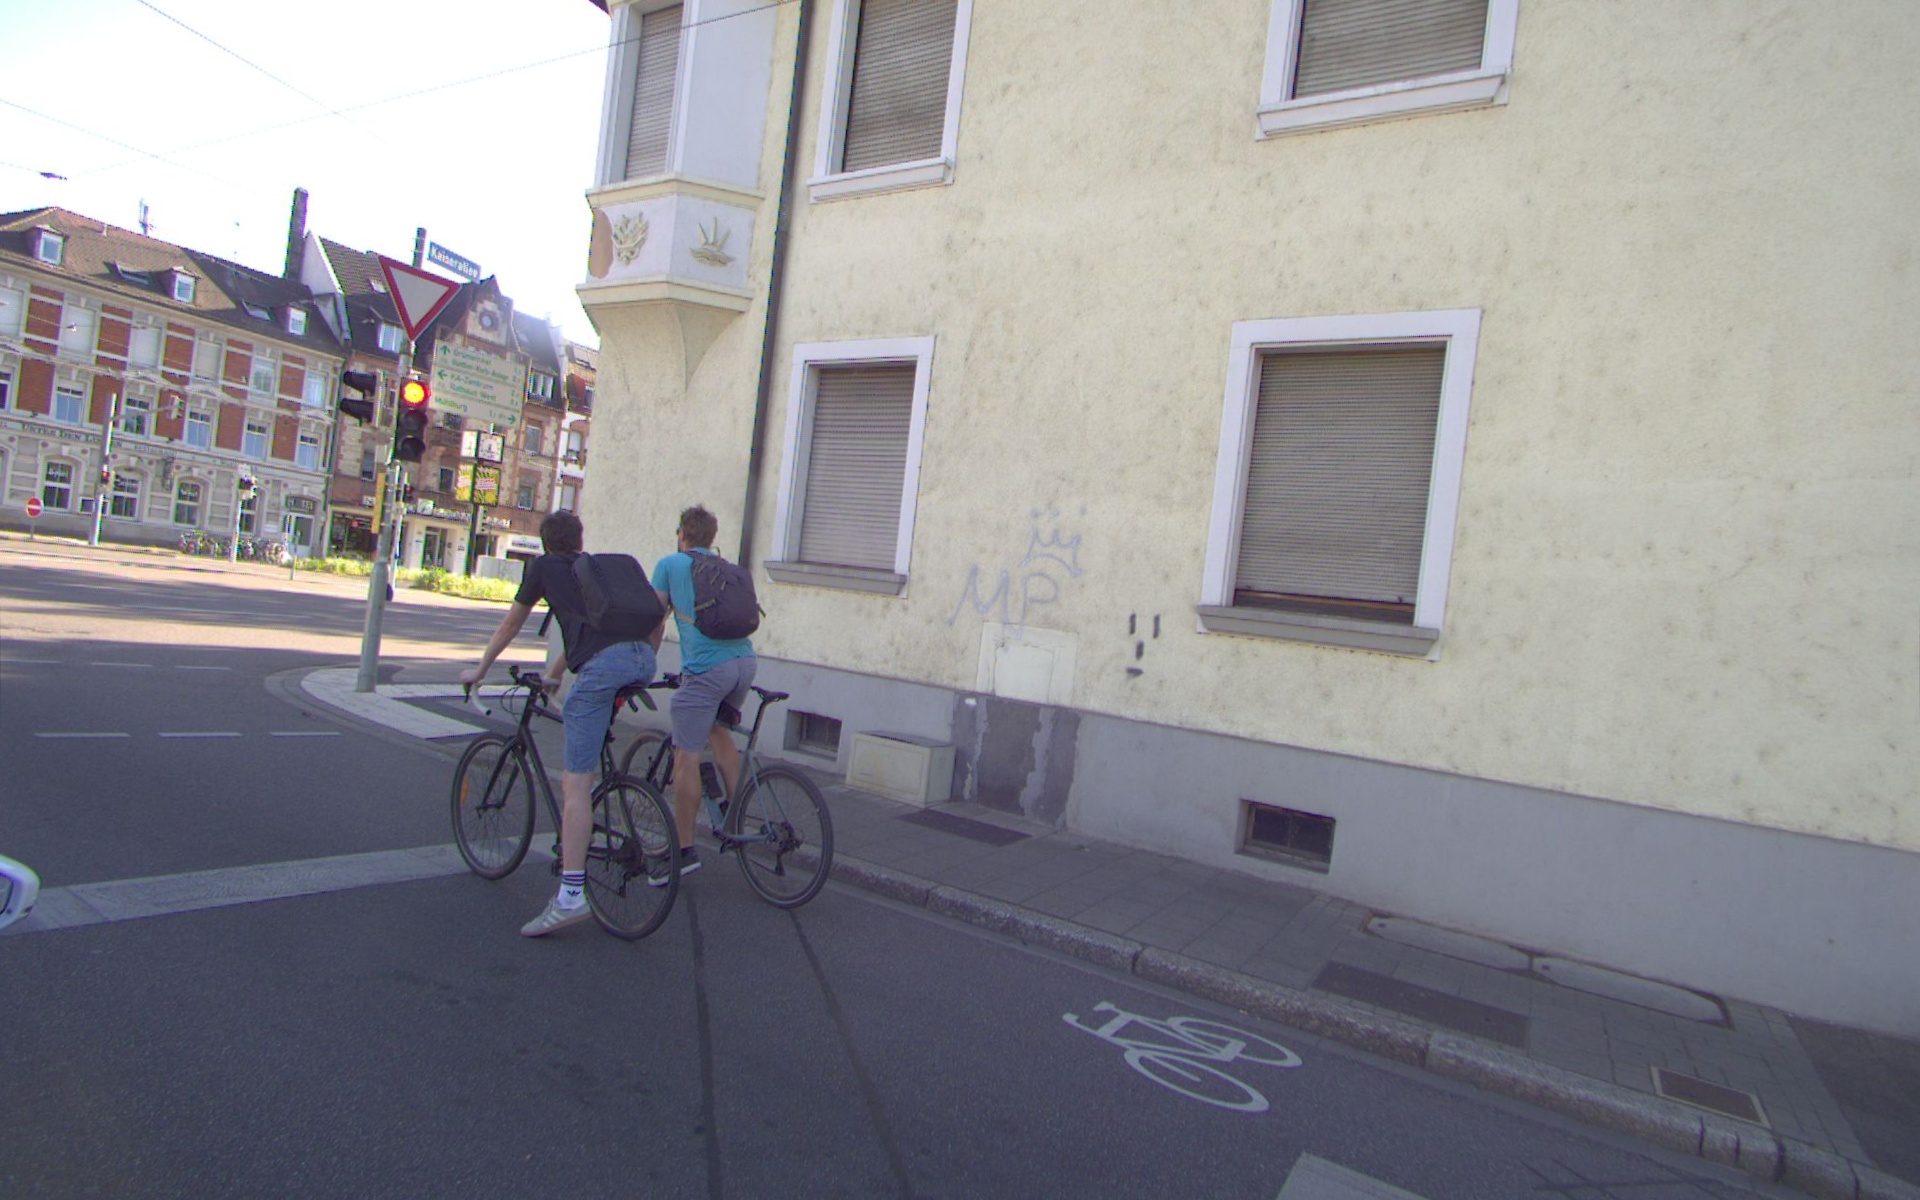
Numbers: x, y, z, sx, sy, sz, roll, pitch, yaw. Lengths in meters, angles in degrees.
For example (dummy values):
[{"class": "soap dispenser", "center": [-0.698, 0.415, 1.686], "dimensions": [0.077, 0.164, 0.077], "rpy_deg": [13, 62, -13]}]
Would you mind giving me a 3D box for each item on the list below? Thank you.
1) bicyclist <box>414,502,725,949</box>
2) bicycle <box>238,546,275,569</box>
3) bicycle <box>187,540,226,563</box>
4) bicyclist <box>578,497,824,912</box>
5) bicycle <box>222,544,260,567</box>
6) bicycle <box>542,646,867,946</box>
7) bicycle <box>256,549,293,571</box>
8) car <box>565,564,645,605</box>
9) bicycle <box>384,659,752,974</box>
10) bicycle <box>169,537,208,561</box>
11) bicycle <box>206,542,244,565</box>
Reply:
[{"class": "bicyclist", "center": [-1.751, 0.490, 4.490], "dimensions": [1.098, 1.722, 0.573], "rpy_deg": [7, 0, 32]}, {"class": "bicycle", "center": [-33.501, -2.018, 47.895], "dimensions": [2.125, 0.850, 0.659], "rpy_deg": [6, -2, 33]}, {"class": "bicycle", "center": [-34.564, -2.228, 46.147], "dimensions": [2.125, 0.850, 0.659], "rpy_deg": [6, -2, 33]}, {"class": "bicyclist", "center": [-1.386, 0.507, 5.336], "dimensions": [0.930, 1.958, 0.518], "rpy_deg": [10, 2, 35]}, {"class": "bicycle", "center": [-33.857, -2.086, 47.365], "dimensions": [2.125, 0.850, 0.659], "rpy_deg": [6, -2, 33]}, {"class": "bicycle", "center": [-1.400, 0.945, 5.309], "dimensions": [1.767, 1.104, 0.518], "rpy_deg": [9, 1, 36]}, {"class": "bicycle", "center": [-33.113, -1.938, 48.600], "dimensions": [2.125, 0.850, 0.659], "rpy_deg": [6, -2, 33]}, {"class": "car", "center": [-23.024, -0.991, 65.327], "dimensions": [1.968, 2.038, 4.430], "rpy_deg": [7, -1, 34]}, {"class": "bicycle", "center": [-1.799, 0.874, 4.510], "dimensions": [1.721, 0.982, 0.519], "rpy_deg": [7, 0, 32]}, {"class": "bicycle", "center": [-34.880, -2.296, 45.480], "dimensions": [2.125, 0.850, 0.659], "rpy_deg": [6, -2, 33]}, {"class": "bicycle", "center": [-34.191, -2.154, 46.768], "dimensions": [2.125, 0.850, 0.659], "rpy_deg": [6, -2, 33]}]
